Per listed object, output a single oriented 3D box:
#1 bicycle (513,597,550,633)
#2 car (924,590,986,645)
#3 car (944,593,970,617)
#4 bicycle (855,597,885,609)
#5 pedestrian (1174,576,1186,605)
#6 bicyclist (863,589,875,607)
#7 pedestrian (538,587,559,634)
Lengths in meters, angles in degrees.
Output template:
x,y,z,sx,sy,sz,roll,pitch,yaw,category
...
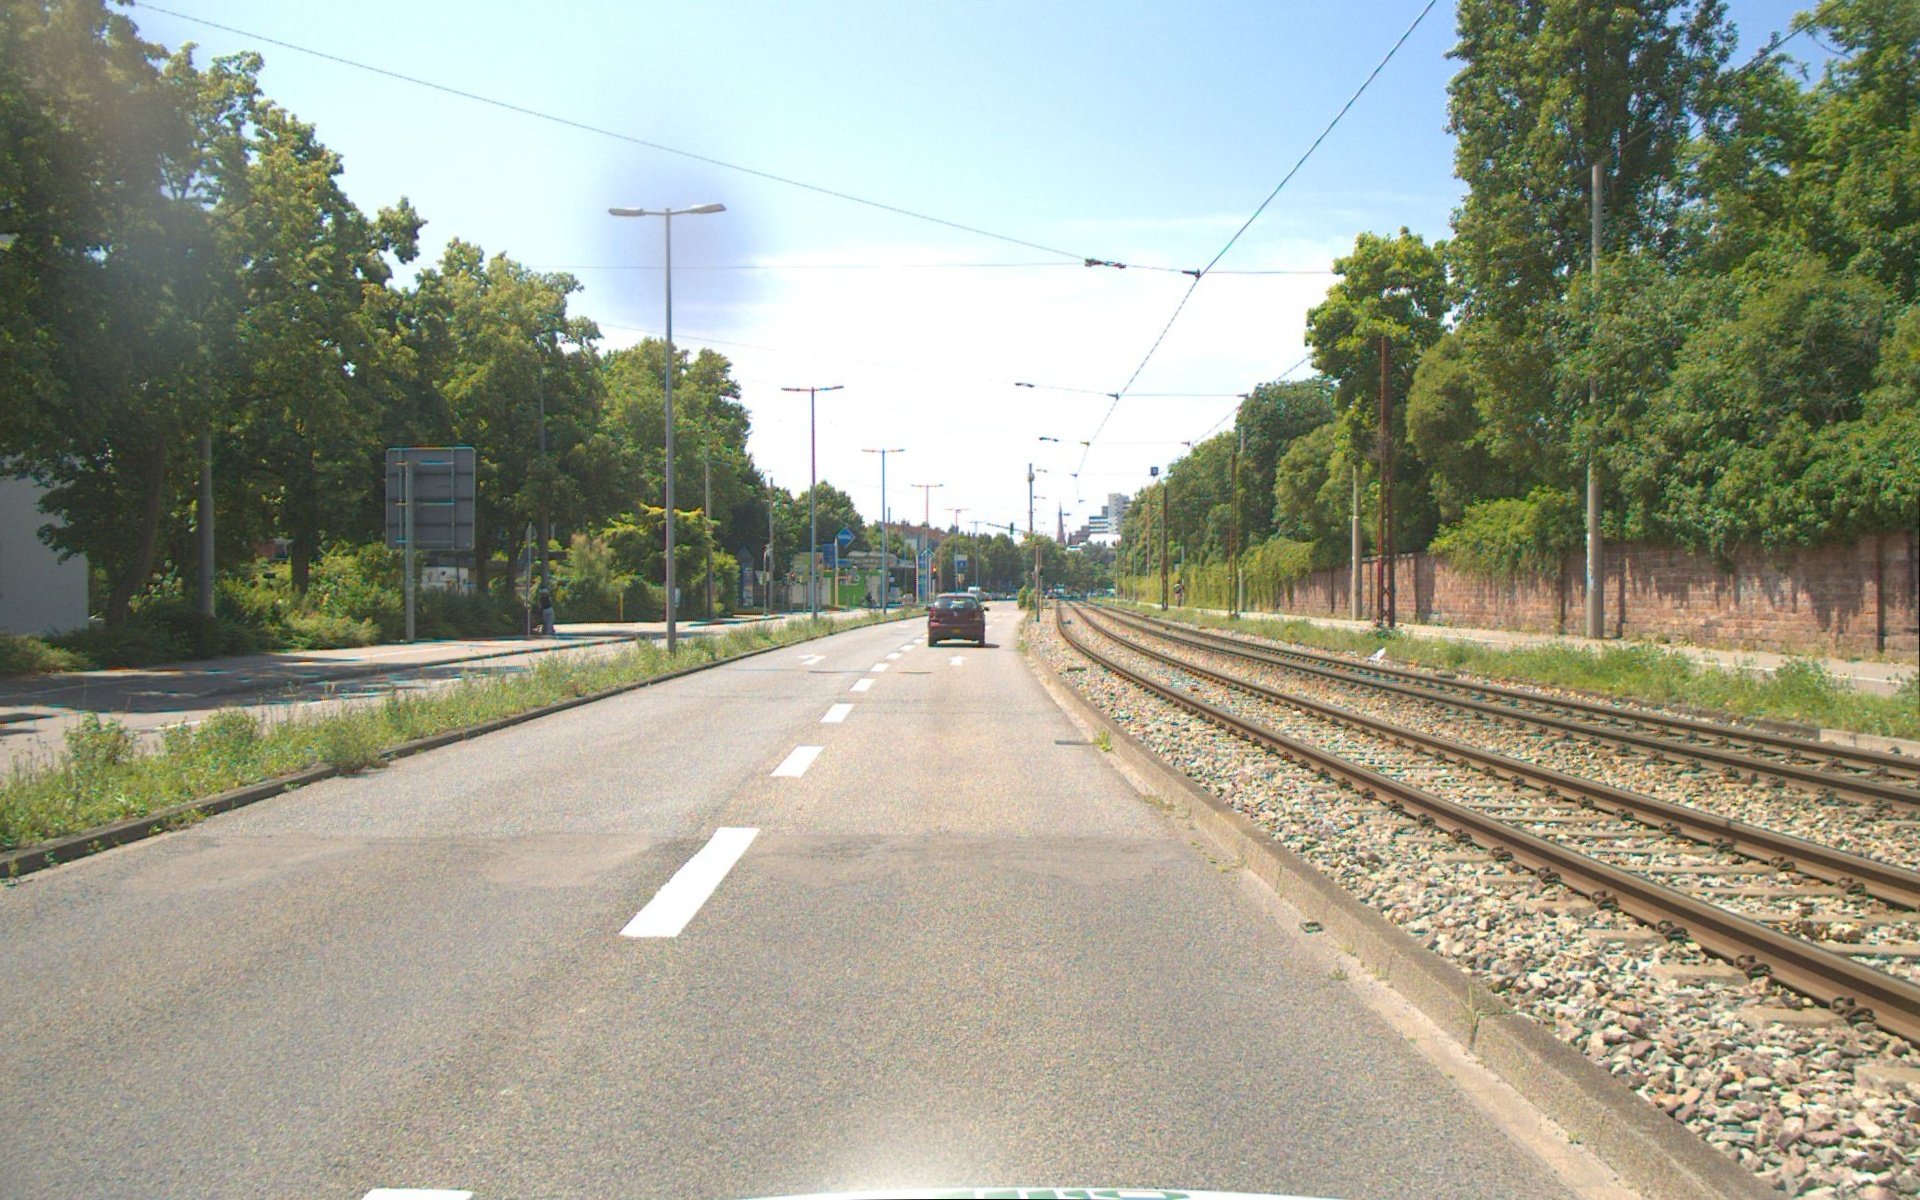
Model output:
x,y,z,sx,sy,sz,roll,pitch,yaw,category
-16.109,0.557,62.207,0.632,1.351,1.574,-1,0,15,bicycle
-0.103,0.503,47.177,1.667,1.503,3.717,0,-1,1,car
-0.214,0.340,113.236,1.668,1.506,3.715,2,0,-2,car
-8.137,0.258,149.220,2.506,1.056,1.084,1,-1,-13,bicycle
13.235,-0.560,99.539,0.648,1.756,0.817,-1,0,2,pedestrian
-8.181,-0.202,149.244,0.928,1.621,1.084,1,-1,-13,bicyclist
-15.484,0.381,62.235,0.537,1.748,0.604,-1,0,16,pedestrian
